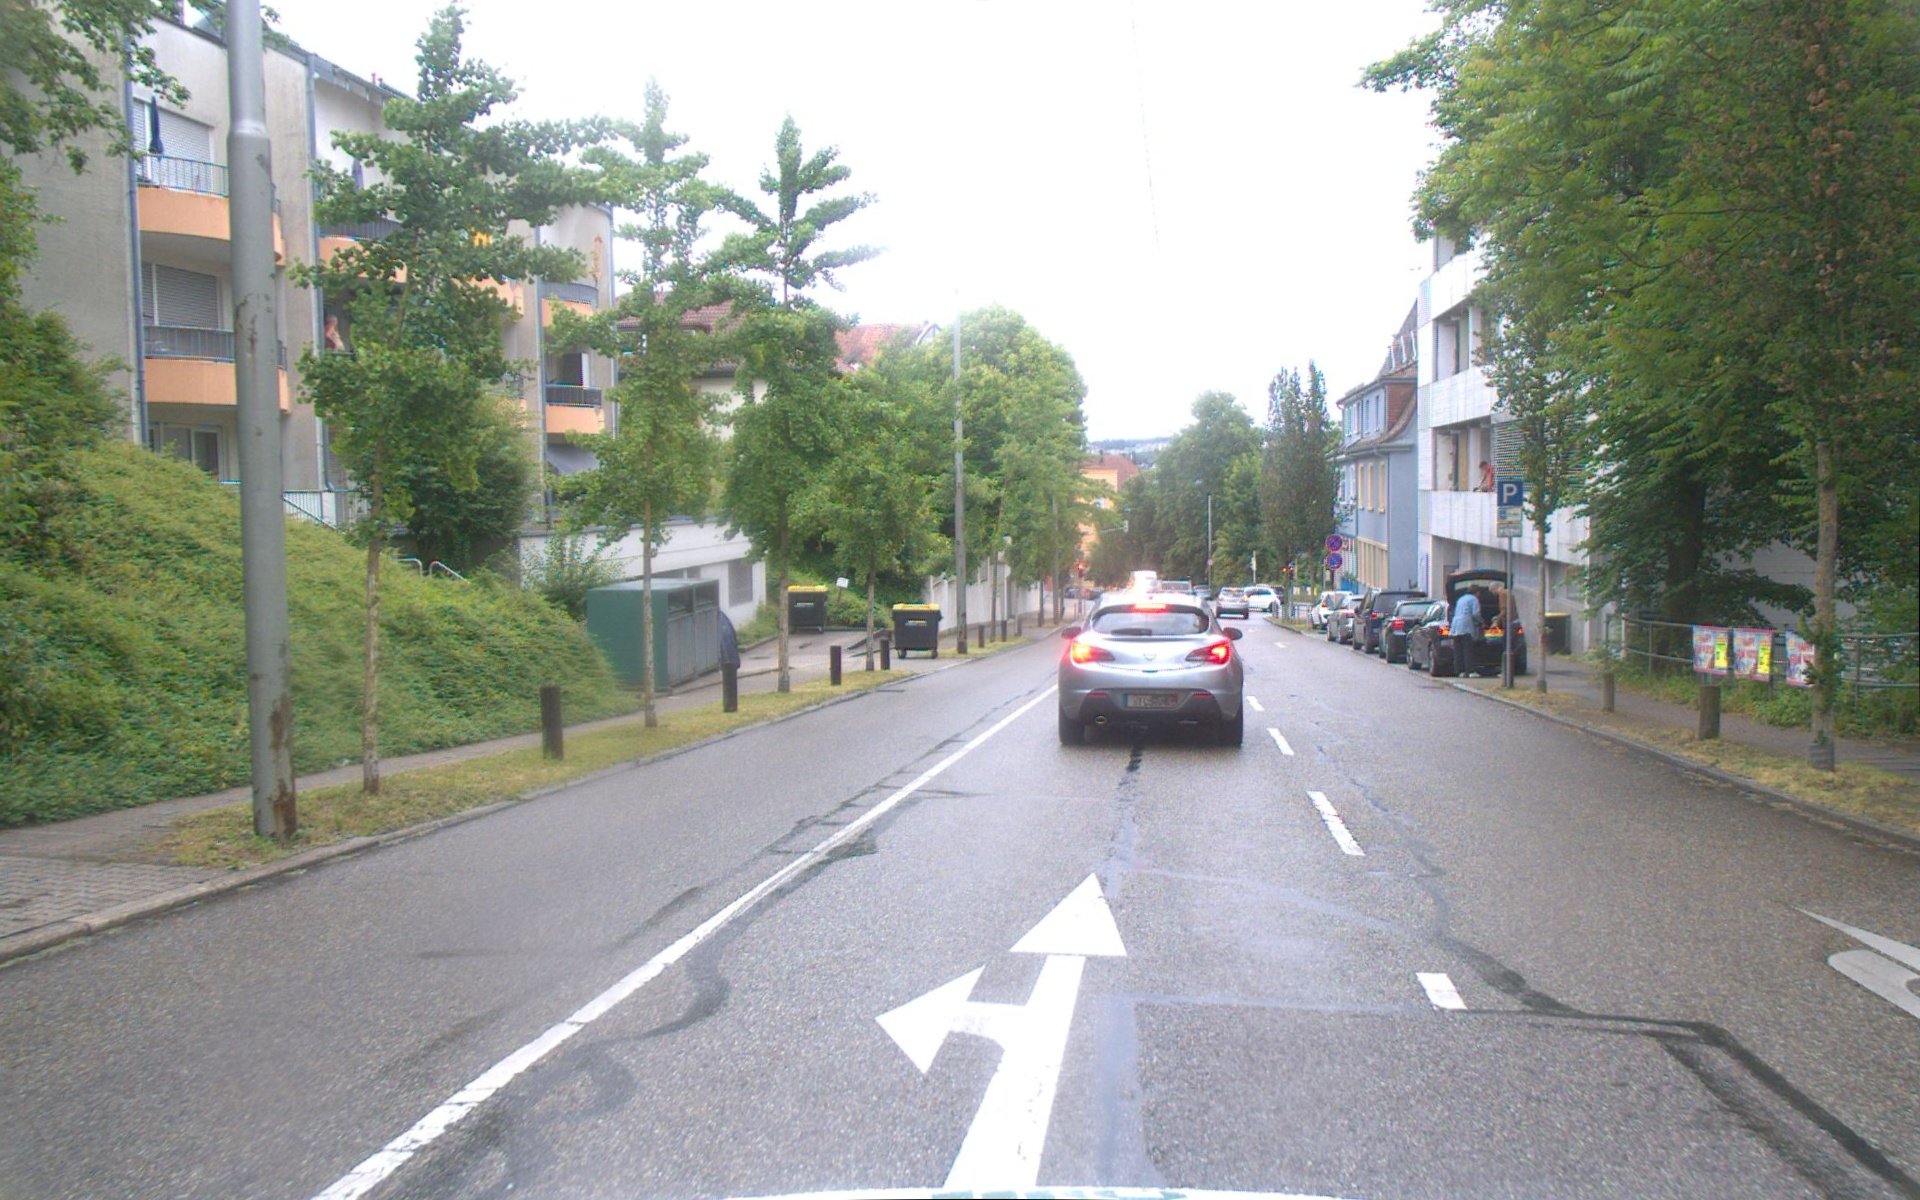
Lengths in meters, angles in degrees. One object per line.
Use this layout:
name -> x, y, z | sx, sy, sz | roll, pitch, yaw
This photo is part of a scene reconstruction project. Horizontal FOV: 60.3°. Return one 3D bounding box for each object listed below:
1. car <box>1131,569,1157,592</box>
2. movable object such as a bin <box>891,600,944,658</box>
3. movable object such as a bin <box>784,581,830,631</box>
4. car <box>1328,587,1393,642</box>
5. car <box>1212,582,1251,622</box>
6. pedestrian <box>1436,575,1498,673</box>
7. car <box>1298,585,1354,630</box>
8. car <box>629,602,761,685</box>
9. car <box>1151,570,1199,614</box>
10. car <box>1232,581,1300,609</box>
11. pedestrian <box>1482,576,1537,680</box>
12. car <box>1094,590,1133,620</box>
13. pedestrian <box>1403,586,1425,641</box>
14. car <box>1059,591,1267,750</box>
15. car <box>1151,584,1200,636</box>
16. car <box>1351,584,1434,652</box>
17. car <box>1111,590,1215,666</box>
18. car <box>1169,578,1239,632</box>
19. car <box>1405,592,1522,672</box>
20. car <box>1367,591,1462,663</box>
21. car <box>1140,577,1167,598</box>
car -> 15.366, -1.624, 138.146 | 1.951, 1.815, 4.004 | 2, 2, 8
movable object such as a bin -> -1.057, 0.722, 41.227 | 1.245, 1.411, 0.489 | 0, 1, 5
movable object such as a bin -> -4.389, 0.159, 47.407 | 1.245, 1.411, 0.489 | 0, 1, 5
car -> 12.217, 0.404, 50.633 | 1.550, 1.519, 4.294 | -2, 1, 9
car -> 15.165, 0.068, 92.606 | 1.951, 2.071, 4.739 | 2, 2, 8
pedestrian -> 9.402, 0.442, 30.671 | 0.723, 1.753, 0.761 | -3, 1, -18
car -> 14.503, 0.265, 65.699 | 1.866, 1.598, 4.004 | -2, 1, 9
car -> -5.445, 0.857, 34.462 | 1.705, 1.482, 3.887 | -4, 0, 5
car -> 11.031, -0.444, 84.613 | 2.284, 2.071, 4.739 | 2, 2, 8
car -> 19.574, -0.314, 105.821 | 3.781, 1.504, 1.825 | -5, 1, -9
pedestrian -> 10.201, 0.502, 30.703 | 0.673, 1.868, 0.665 | -3, 1, -5
car -> 8.416, 0.270, 90.255 | 1.811, 1.494, 4.091 | -4, 0, 8
pedestrian -> 15.210, 0.451, 55.376 | 0.631, 1.815, 0.542 | -1, 1, 8
car -> 2.005, 0.644, 17.307 | 1.904, 1.457, 3.886 | -1, 0, 3
car -> 8.296, 0.362, 63.988 | 1.731, 1.812, 3.980 | 2, 2, 6
car -> 11.298, 0.428, 43.363 | 1.650, 1.598, 4.004 | -2, 1, 9
car -> 4.024, 0.520, 33.268 | 1.760, 1.346, 4.002 | 0, 1, 2
car -> 7.552, 0.110, 51.468 | 1.919, 1.497, 3.954 | 2, 2, 6
car -> 9.963, 0.602, 32.961 | 1.472, 1.460, 4.003 | -2, 0, 6
car -> 10.572, 0.590, 38.674 | 1.645, 1.489, 4.004 | -2, 1, 9
car -> 15.304, -1.013, 130.829 | 1.951, 1.562, 4.313 | 2, 2, 8
